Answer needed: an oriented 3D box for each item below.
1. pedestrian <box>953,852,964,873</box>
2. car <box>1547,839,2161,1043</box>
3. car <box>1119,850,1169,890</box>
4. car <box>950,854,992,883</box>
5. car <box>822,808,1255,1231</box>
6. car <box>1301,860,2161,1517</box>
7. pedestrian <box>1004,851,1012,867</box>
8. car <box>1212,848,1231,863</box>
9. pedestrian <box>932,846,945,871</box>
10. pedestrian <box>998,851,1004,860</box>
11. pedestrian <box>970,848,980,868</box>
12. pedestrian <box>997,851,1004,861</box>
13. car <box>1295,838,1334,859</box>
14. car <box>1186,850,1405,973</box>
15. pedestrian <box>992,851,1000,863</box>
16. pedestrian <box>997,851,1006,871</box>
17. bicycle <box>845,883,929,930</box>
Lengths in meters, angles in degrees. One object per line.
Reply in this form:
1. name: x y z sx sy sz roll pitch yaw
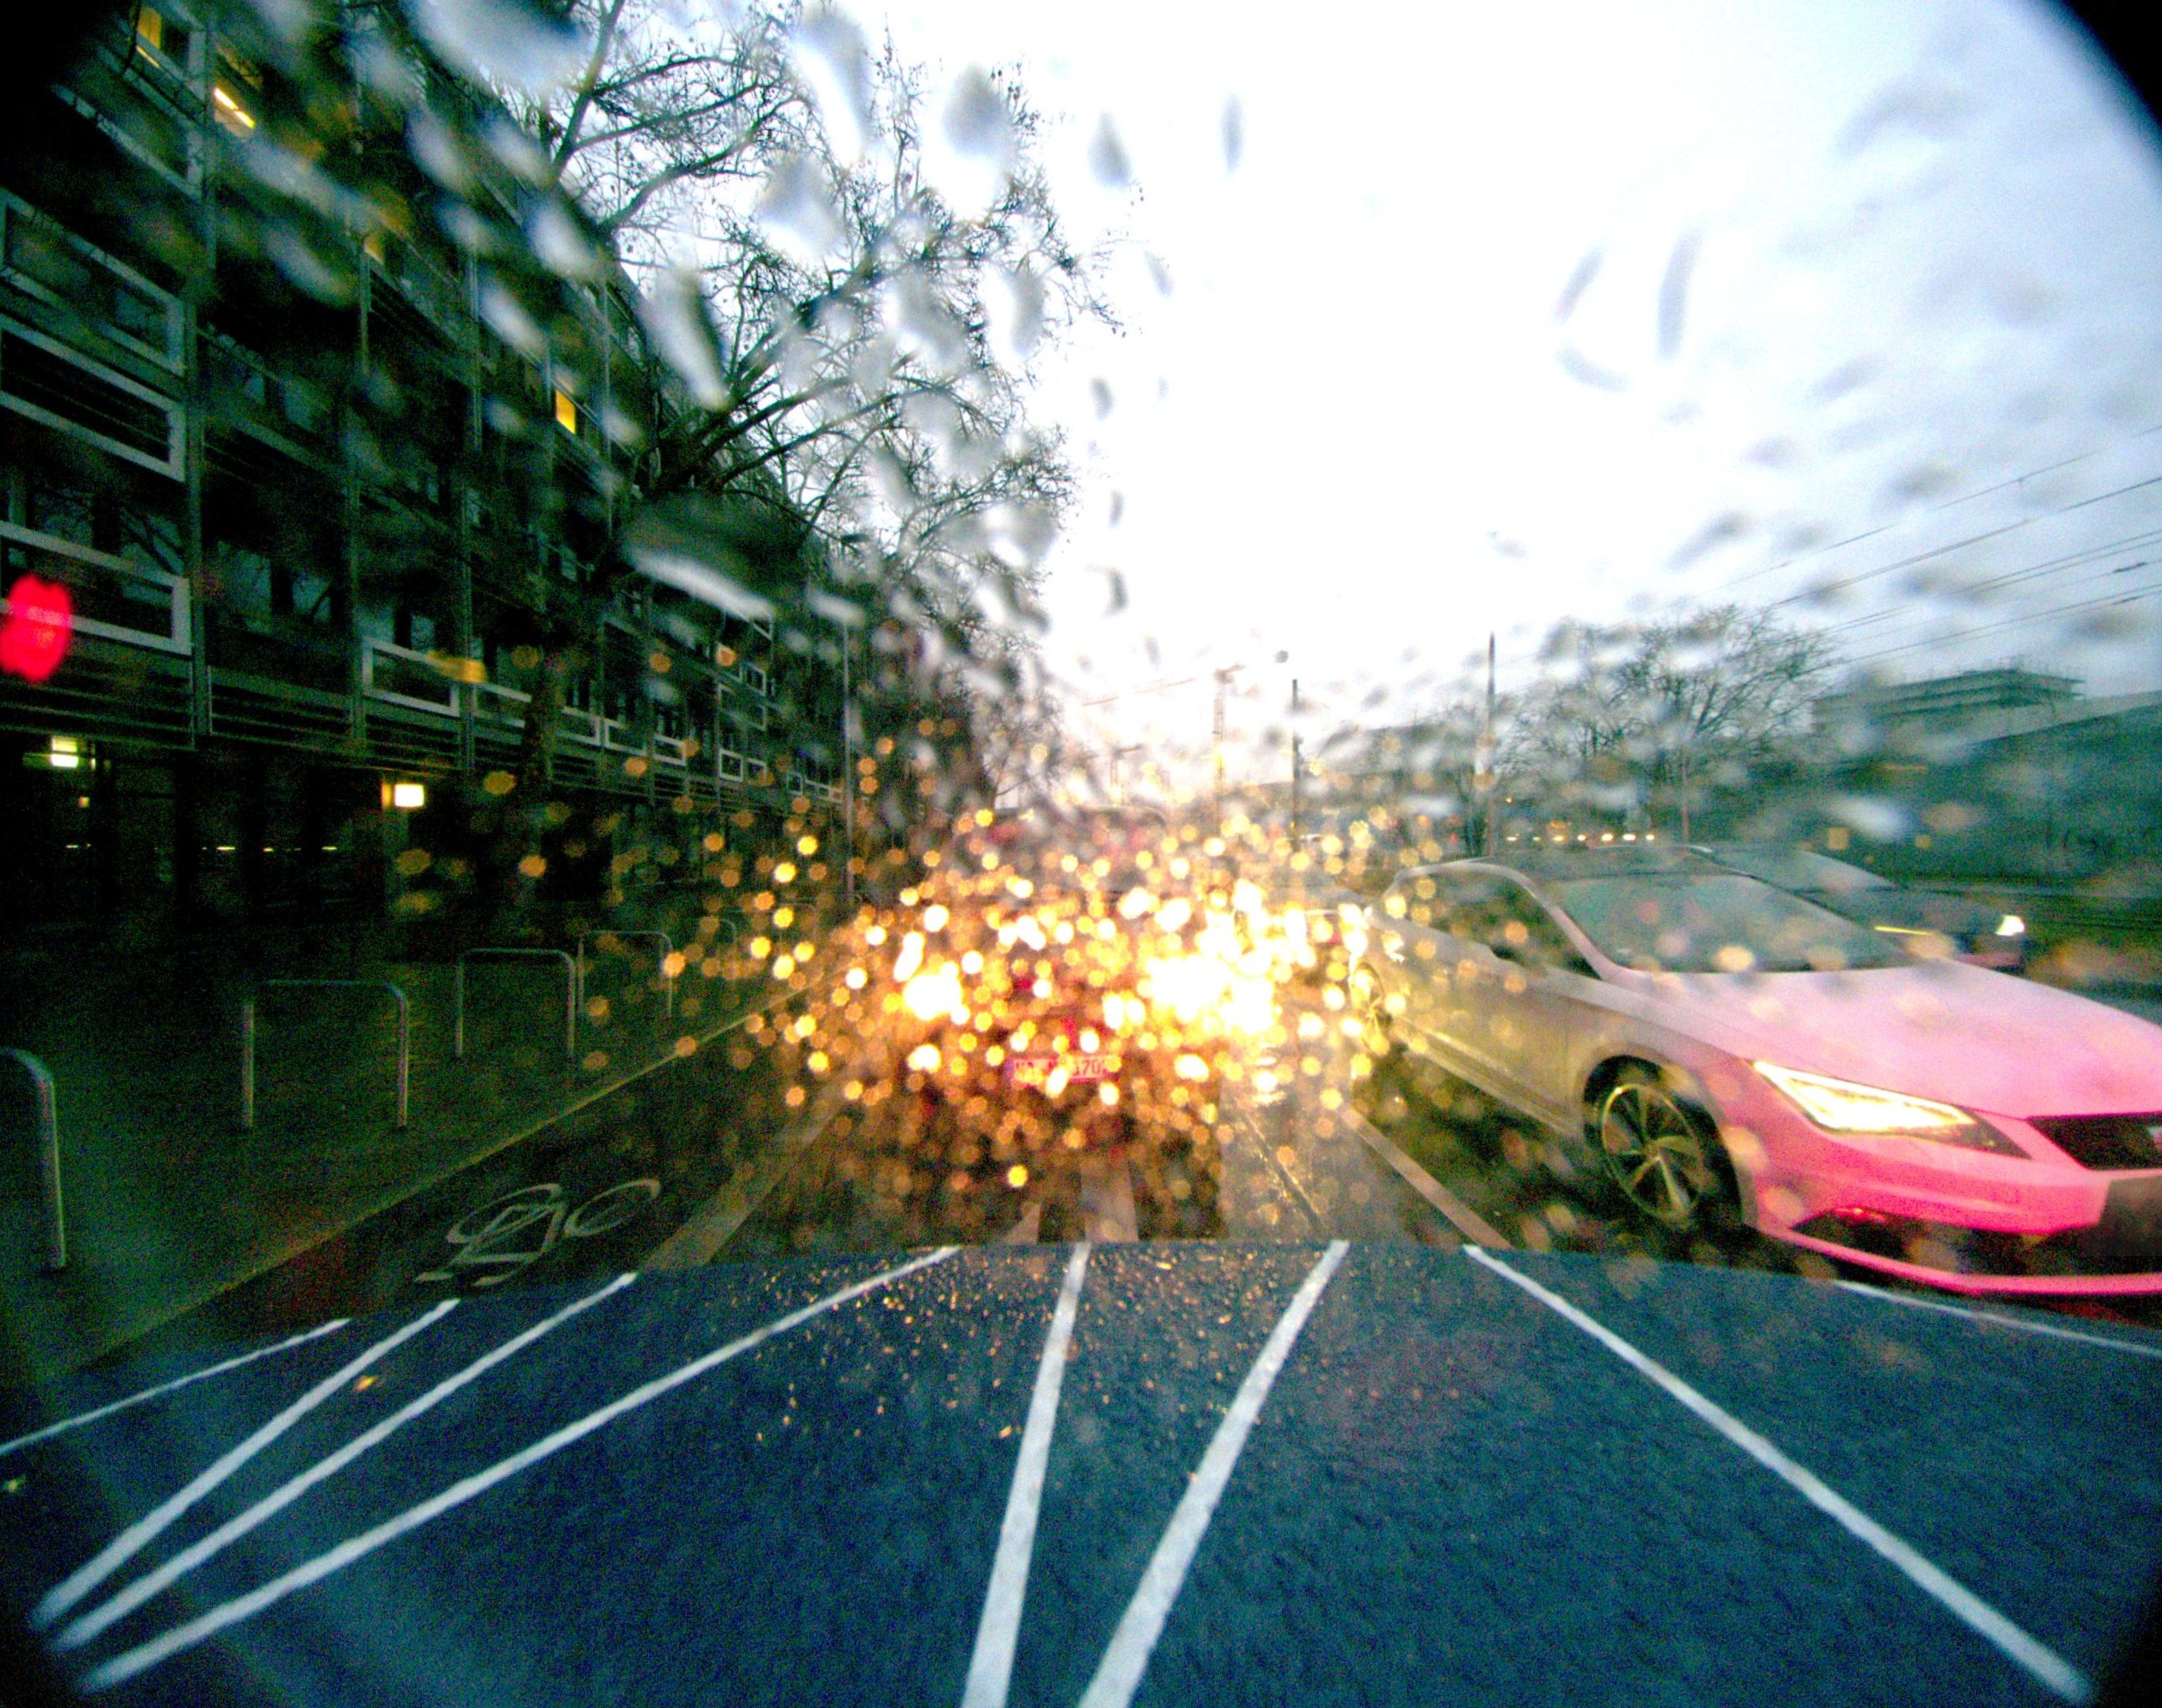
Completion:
1. pedestrian: -10.367 0.714 64.318 0.766 1.740 0.928 0 1 -4
2. car: 7.316 0.619 8.028 1.853 1.499 4.662 -1 1 -1
3. car: 2.741 0.675 33.910 1.907 1.565 3.999 -2 1 1
4. car: -6.200 0.785 43.312 1.713 1.455 3.999 -2 1 1
5. car: -0.232 0.723 5.424 1.878 1.830 3.999 -2 1 -2
6. car: 2.982 0.837 4.164 1.949 1.478 4.504 -2 0 -4
7. pedestrian: -8.107 0.582 84.301 0.766 1.740 0.928 0 1 -4
8. car: 19.843 0.208 107.375 1.998 2.002 3.999 -2 1 1
9. pedestrian: -12.752 0.361 68.086 1.062 2.182 1.110 -2 1 -11
10. pedestrian: -11.120 0.198 105.181 0.719 1.330 0.791 -2 1 1
11. pedestrian: -9.370 0.308 67.106 0.766 1.740 0.928 0 1 -4
12. pedestrian: -10.897 0.213 103.054 0.719 1.330 0.791 -2 1 1
13. car: 21.836 -0.517 71.245 2.095 1.884 3.997 -1 1 -7
14. car: 2.960 0.698 11.602 1.999 1.478 4.505 -1 0 -1
15. pedestrian: -9.958 0.332 89.238 0.782 1.330 0.751 -2 1 1
16. pedestrian: -7.122 0.607 68.400 0.766 1.740 0.928 0 1 -4
17. bicycle: -4.472 1.212 17.627 1.704 0.987 0.879 1 1 0
